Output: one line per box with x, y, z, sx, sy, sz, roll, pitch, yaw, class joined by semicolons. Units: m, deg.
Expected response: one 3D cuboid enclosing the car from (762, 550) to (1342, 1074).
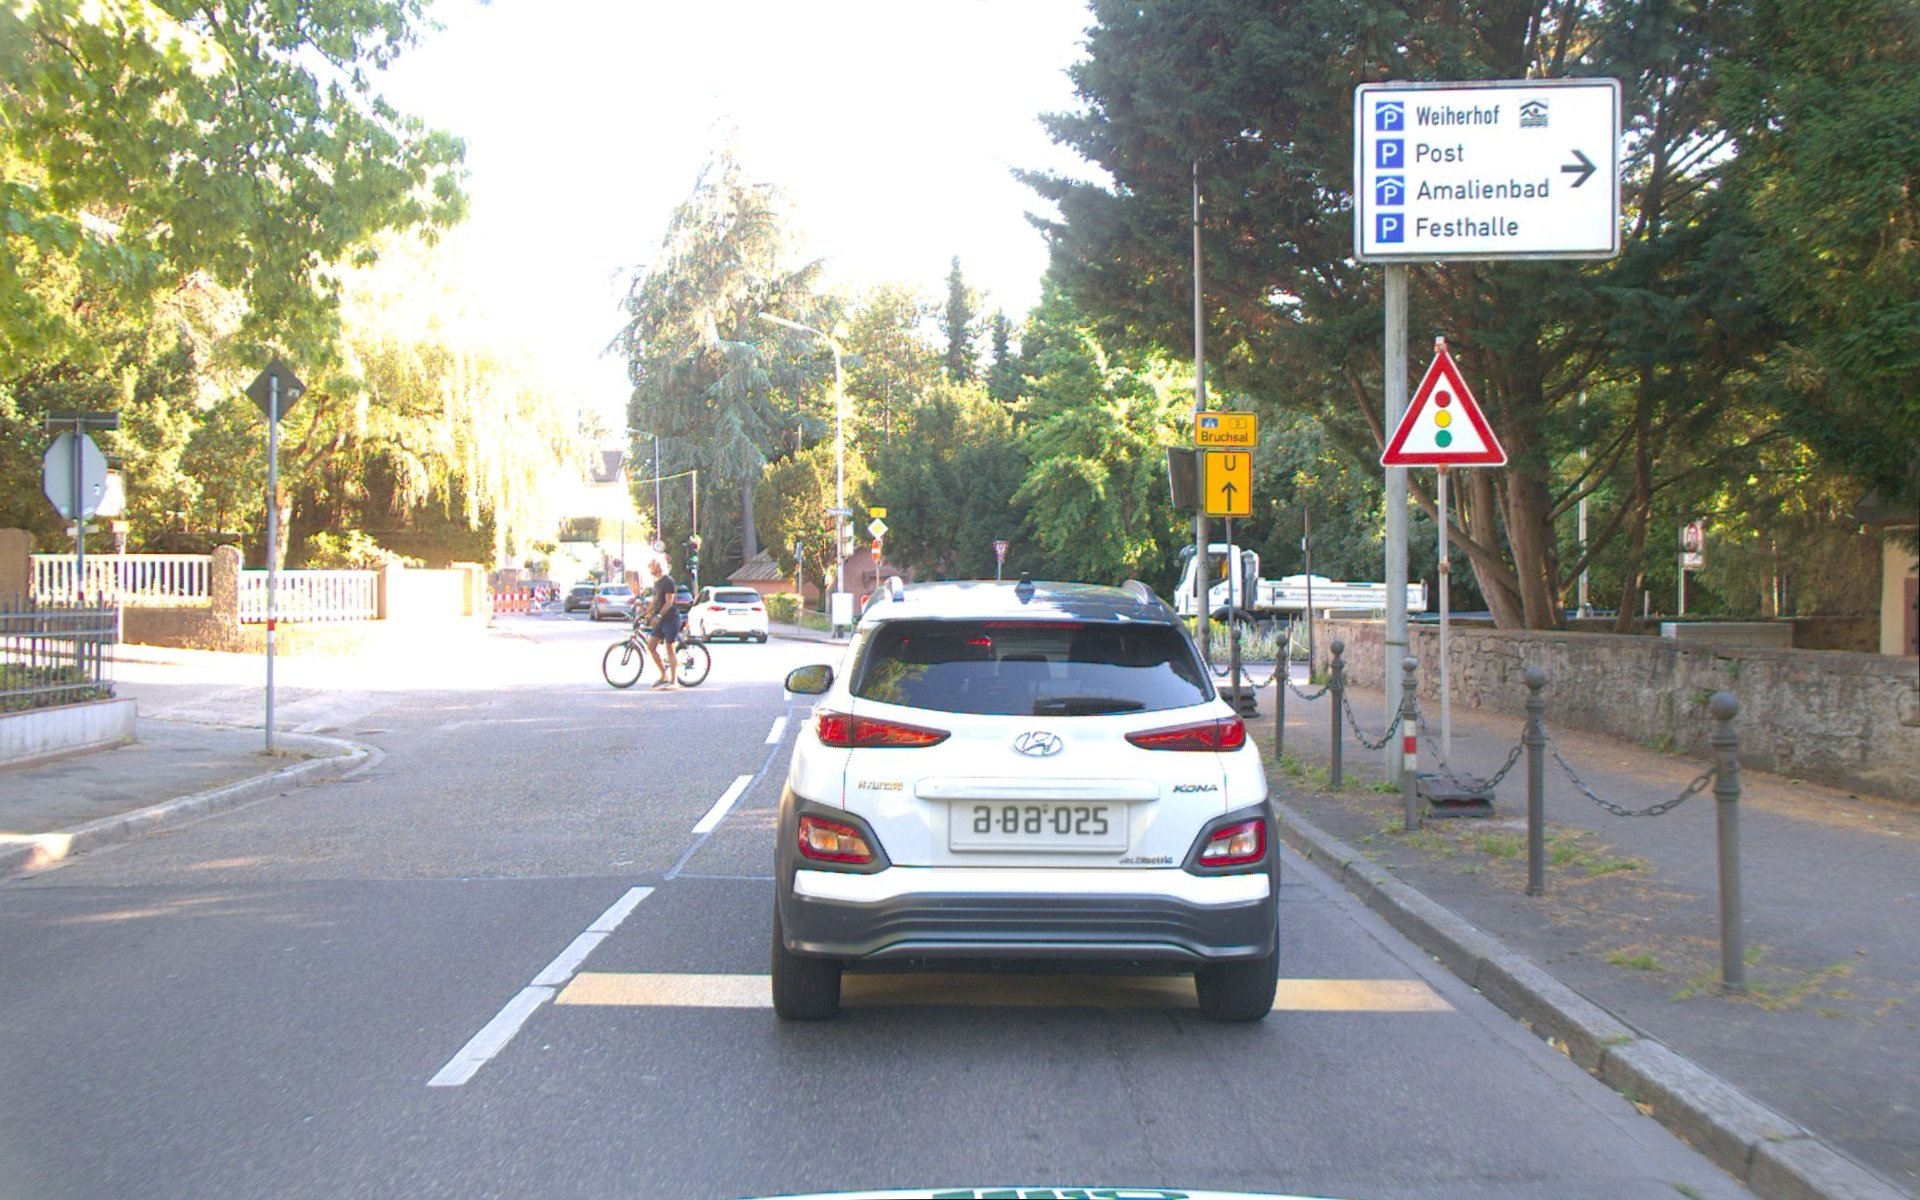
0.257;0.655;7.188;1.783;1.601;3.999;2;0;-1;car

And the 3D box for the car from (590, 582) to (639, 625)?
-15.260;0.128;72.948;1.802;1.771;3.982;2;0;-16;car

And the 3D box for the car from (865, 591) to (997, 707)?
-0.400;0.624;23.658;1.673;1.459;4.364;2;0;-1;car

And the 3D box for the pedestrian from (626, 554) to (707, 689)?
-4.160;0.300;23.454;0.934;1.858;0.547;1;1;-39;pedestrian

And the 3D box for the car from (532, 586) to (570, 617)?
-23.706;0.051;95.843;1.804;1.691;3.979;1;0;-19;car

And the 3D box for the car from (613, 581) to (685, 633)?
-10.902;0.211;57.809;1.805;1.691;3.976;2;0;-21;car

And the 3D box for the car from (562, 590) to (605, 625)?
-19.585;0.355;85.897;1.803;1.691;3.980;2;0;-18;car

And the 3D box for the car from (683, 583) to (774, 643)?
-6.489;0.332;46.113;1.778;1.564;3.979;2;0;-19;car

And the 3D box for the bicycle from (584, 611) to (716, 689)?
-4.458;0.712;23.878;1.799;1.061;0.554;1;2;-38;bicycle

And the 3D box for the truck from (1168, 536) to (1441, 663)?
8.641;-0.035;42.051;6.449;2.945;2.434;2;0;4;truck
